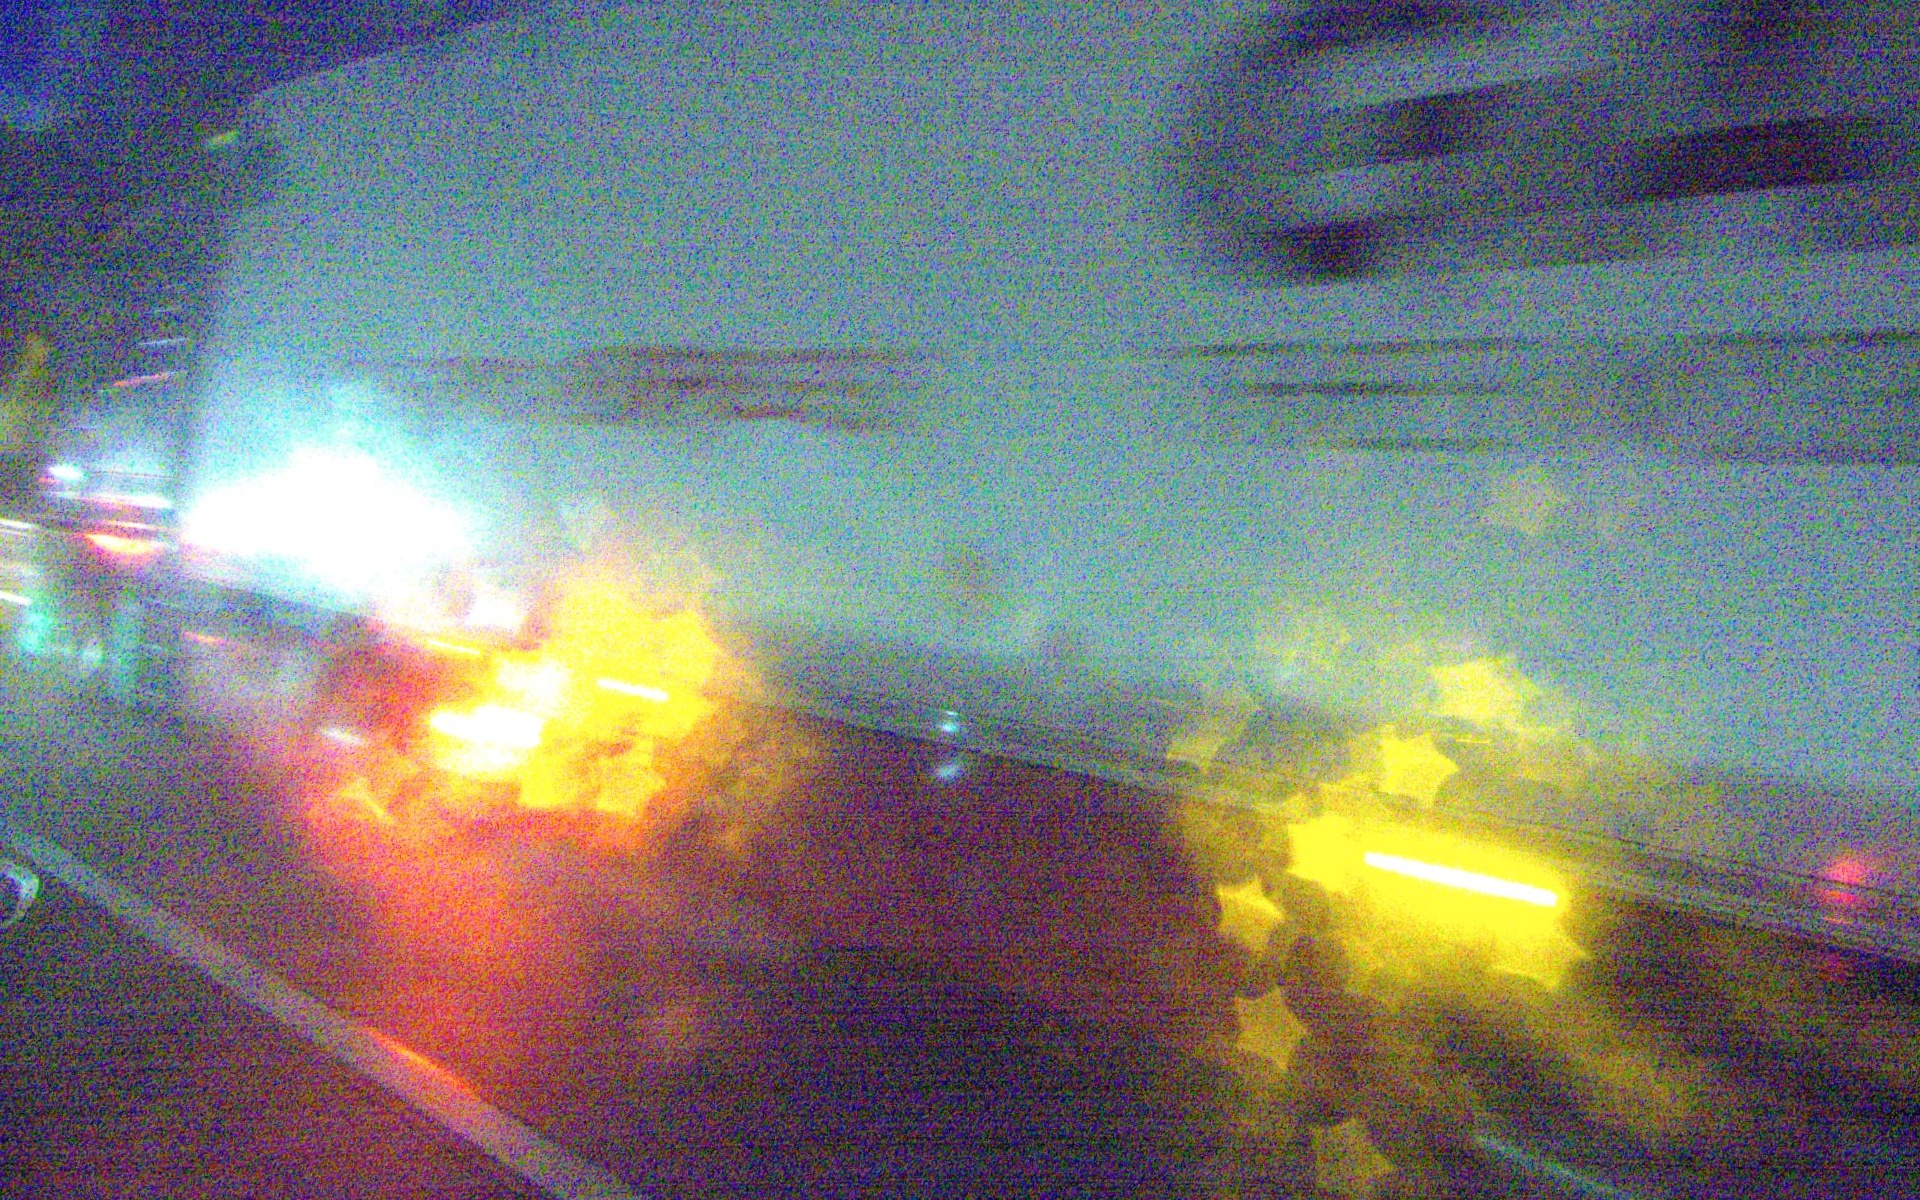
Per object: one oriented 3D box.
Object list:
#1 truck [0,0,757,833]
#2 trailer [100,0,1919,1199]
[{"bbox_3d":[-4.660,-1.099,7.679,5.205,4.293,2.714,7,0,32],"label":"truck"},{"bbox_3d":[1.201,-0.440,4.067,13.148,4.296,2.745,7,-2,31],"label":"trailer"}]
